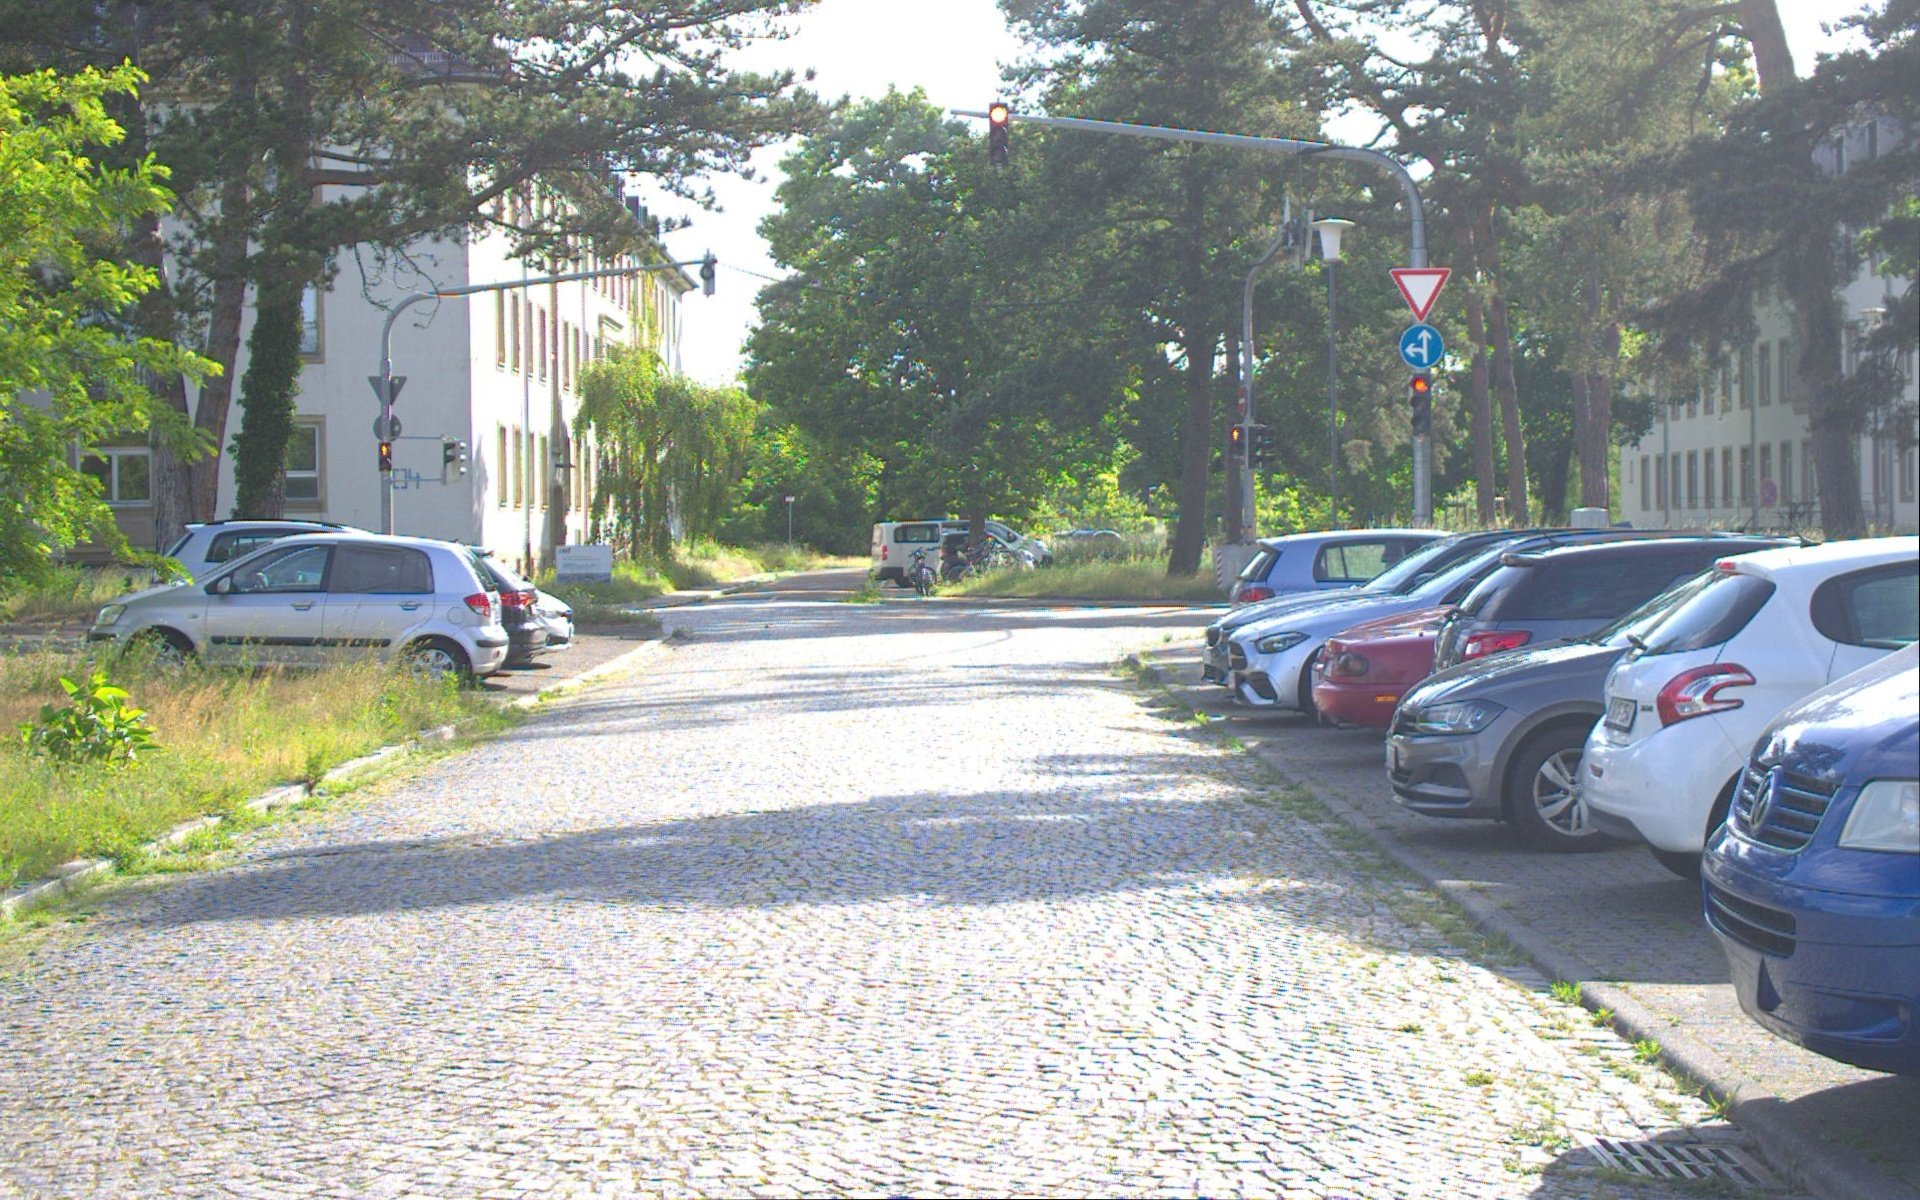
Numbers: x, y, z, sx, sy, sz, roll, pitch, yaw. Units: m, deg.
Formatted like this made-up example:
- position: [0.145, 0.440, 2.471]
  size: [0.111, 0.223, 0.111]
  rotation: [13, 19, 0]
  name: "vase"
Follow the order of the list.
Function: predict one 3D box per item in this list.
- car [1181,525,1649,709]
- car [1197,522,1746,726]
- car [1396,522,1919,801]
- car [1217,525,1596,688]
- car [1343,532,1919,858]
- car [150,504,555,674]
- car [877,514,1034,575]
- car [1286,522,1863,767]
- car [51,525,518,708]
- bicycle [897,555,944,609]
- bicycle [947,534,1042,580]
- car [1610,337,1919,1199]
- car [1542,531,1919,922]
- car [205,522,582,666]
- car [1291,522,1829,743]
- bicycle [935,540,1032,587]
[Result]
- position: [3.922, 0.126, 30.023]
  size: [3.835, 1.524, 1.646]
  rotation: [-1, 1, -1]
  name: "car"
- position: [4.003, 0.164, 27.251]
  size: [4.033, 1.524, 1.646]
  rotation: [-1, 1, -4]
  name: "car"
- position: [4.406, 0.325, 20.021]
  size: [3.478, 1.524, 1.646]
  rotation: [-1, 1, -2]
  name: "car"
- position: [4.197, 0.042, 32.662]
  size: [3.343, 1.477, 1.646]
  rotation: [-1, 1, -2]
  name: "car"
- position: [3.869, 0.425, 17.103]
  size: [3.675, 1.462, 1.646]
  rotation: [-1, 1, -1]
  name: "car"
- position: [-6.529, -0.133, 37.264]
  size: [3.987, 1.596, 2.000]
  rotation: [3, 1, -1]
  name: "car"
- position: [-0.134, -1.604, 99.111]
  size: [4.480, 1.722, 2.000]
  rotation: [0, 1, -1]
  name: "car"
- position: [3.996, 0.266, 22.712]
  size: [3.478, 1.524, 1.646]
  rotation: [-1, 1, -2]
  name: "car"
- position: [-6.189, 0.127, 31.879]
  size: [3.986, 1.595, 2.000]
  rotation: [-1, 1, -3]
  name: "car"
- position: [-0.908, -0.424, 78.194]
  size: [0.804, 1.165, 2.181]
  rotation: [-2, 1, -6]
  name: "bicycle"
- position: [0.825, -1.048, 82.730]
  size: [2.172, 1.096, 0.807]
  rotation: [0, 1, -10]
  name: "bicycle"
- position: [4.275, 0.355, 9.014]
  size: [4.676, 2.007, 2.084]
  rotation: [-1, 1, -3]
  name: "car"
- position: [4.417, 0.437, 14.215]
  size: [3.694, 1.460, 1.645]
  rotation: [-2, 1, 1]
  name: "car"
- position: [-6.483, -0.086, 39.667]
  size: [3.987, 1.448, 2.000]
  rotation: [2, 1, -1]
  name: "car"
- position: [4.315, 0.211, 25.070]
  size: [3.602, 1.524, 1.646]
  rotation: [-1, 1, -2]
  name: "car"
- position: [0.556, -0.875, 81.649]
  size: [2.172, 1.096, 0.807]
  rotation: [0, 1, -10]
  name: "bicycle"
